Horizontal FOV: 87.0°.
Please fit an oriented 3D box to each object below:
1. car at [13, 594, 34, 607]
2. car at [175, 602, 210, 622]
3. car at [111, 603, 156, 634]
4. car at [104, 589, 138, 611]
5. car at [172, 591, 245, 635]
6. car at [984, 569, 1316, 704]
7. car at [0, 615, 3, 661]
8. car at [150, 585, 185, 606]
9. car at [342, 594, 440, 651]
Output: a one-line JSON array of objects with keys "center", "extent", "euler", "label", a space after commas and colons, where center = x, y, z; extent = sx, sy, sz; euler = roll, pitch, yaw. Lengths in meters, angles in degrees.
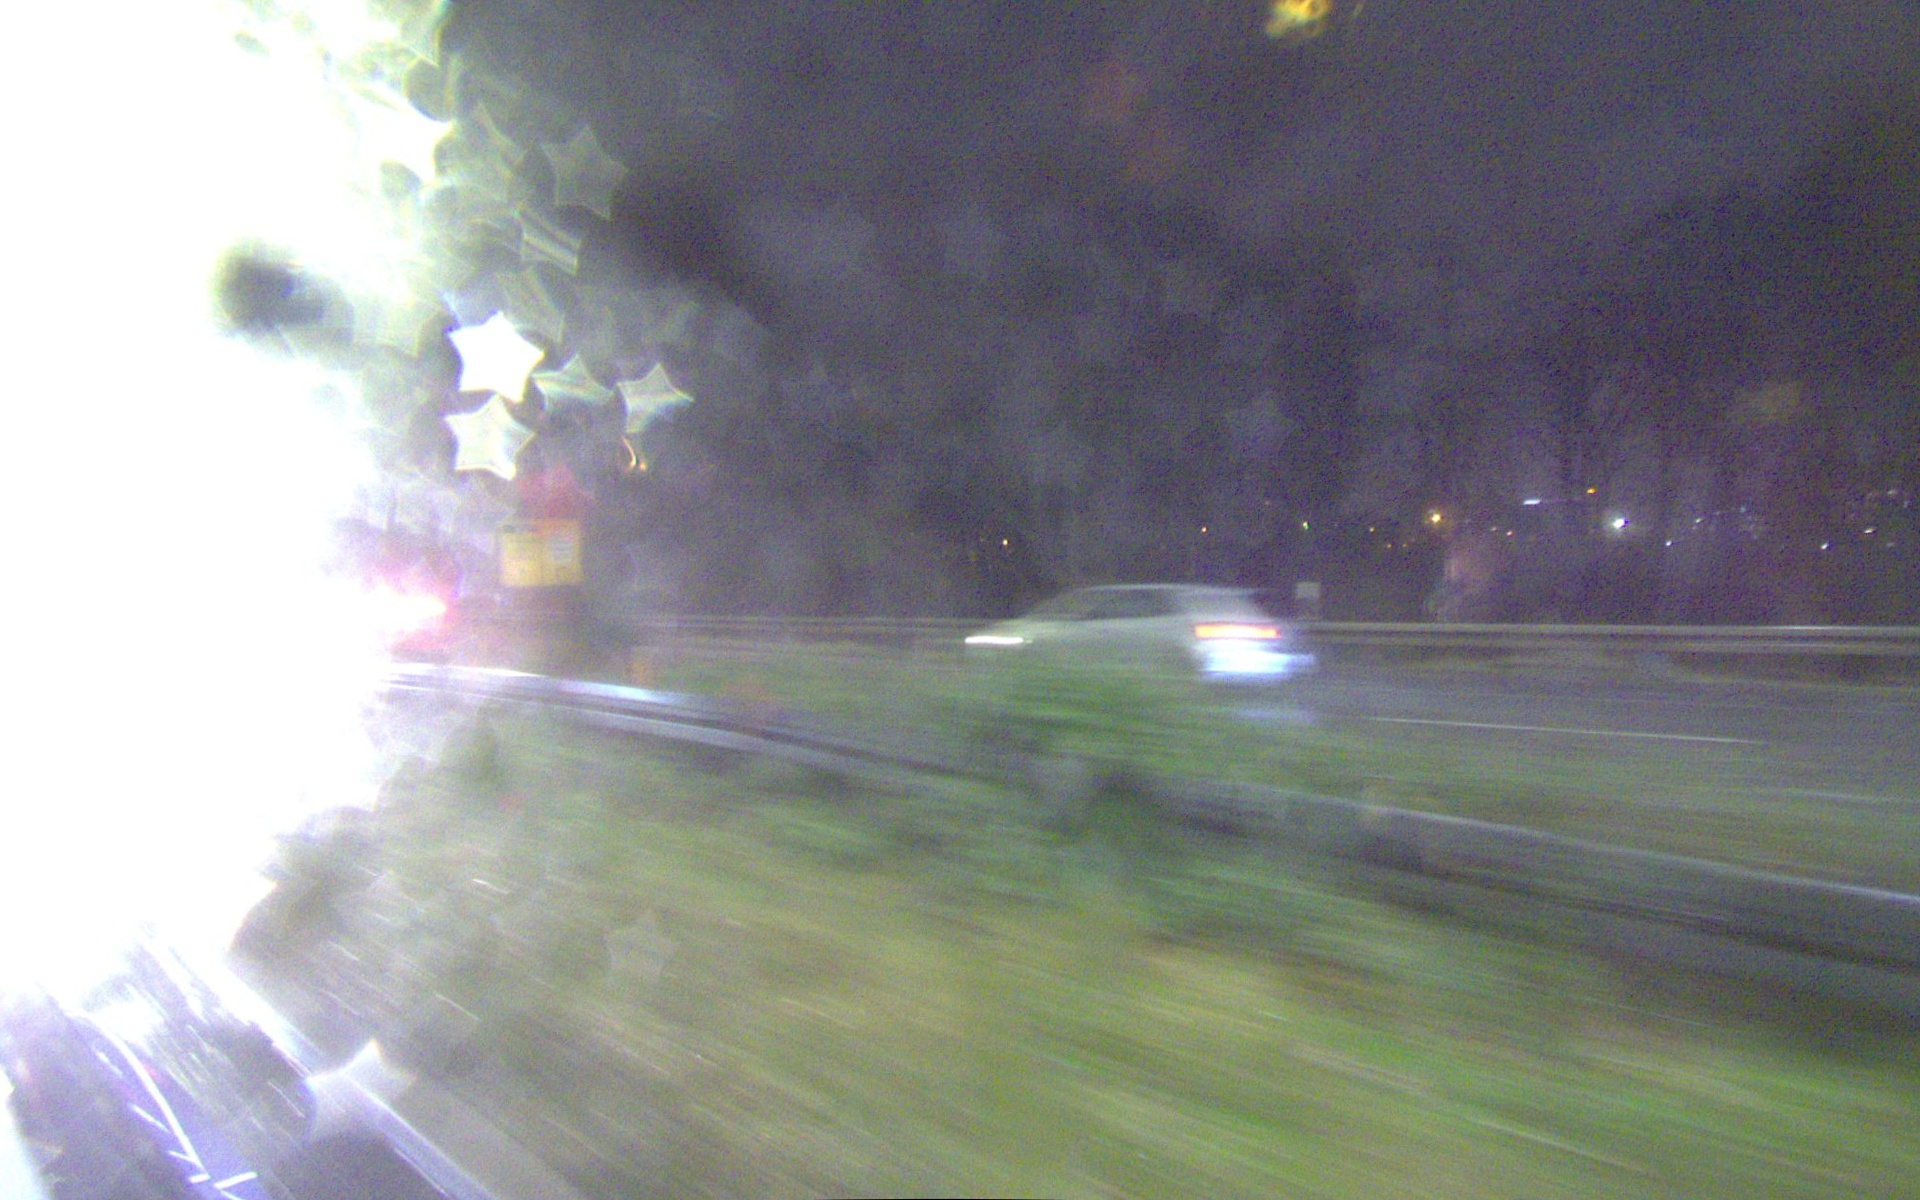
[{"center": [-132.809, 0.114, 143.471], "extent": [1.969, 1.691, 4.006], "euler": [-3, 3, -41], "label": "car"}, {"center": [-56.865, 0.876, 74.933], "extent": [1.691, 1.434, 4.673], "euler": [1, -1, -42], "label": "car"}, {"center": [-50.720, 1.106, 62.082], "extent": [1.745, 1.643, 4.253], "euler": [-2, 4, -44], "label": "car"}, {"center": [-65.648, -0.001, 79.150], "extent": [1.847, 1.619, 4.253], "euler": [-2, 2, -42], "label": "car"}, {"center": [-29.090, 0.520, 39.161], "extent": [1.827, 1.583, 3.510], "euler": [-2, 1, -44], "label": "car"}, {"center": [2.394, 0.419, 13.202], "extent": [3.935, 1.507, 1.718], "euler": [0, -1, 38], "label": "car"}, {"center": [-44.707, 1.717, 45.605], "extent": [4.000, 2.028, 1.972], "euler": [0, 3, 43], "label": "car"}, {"center": [-73.996, -0.461, 94.486], "extent": [3.998, 1.873, 1.851], "euler": [0, 3, 41], "label": "car"}, {"center": [-17.848, 0.649, 31.639], "extent": [1.753, 1.605, 4.567], "euler": [-1, 1, -41], "label": "car"}]
